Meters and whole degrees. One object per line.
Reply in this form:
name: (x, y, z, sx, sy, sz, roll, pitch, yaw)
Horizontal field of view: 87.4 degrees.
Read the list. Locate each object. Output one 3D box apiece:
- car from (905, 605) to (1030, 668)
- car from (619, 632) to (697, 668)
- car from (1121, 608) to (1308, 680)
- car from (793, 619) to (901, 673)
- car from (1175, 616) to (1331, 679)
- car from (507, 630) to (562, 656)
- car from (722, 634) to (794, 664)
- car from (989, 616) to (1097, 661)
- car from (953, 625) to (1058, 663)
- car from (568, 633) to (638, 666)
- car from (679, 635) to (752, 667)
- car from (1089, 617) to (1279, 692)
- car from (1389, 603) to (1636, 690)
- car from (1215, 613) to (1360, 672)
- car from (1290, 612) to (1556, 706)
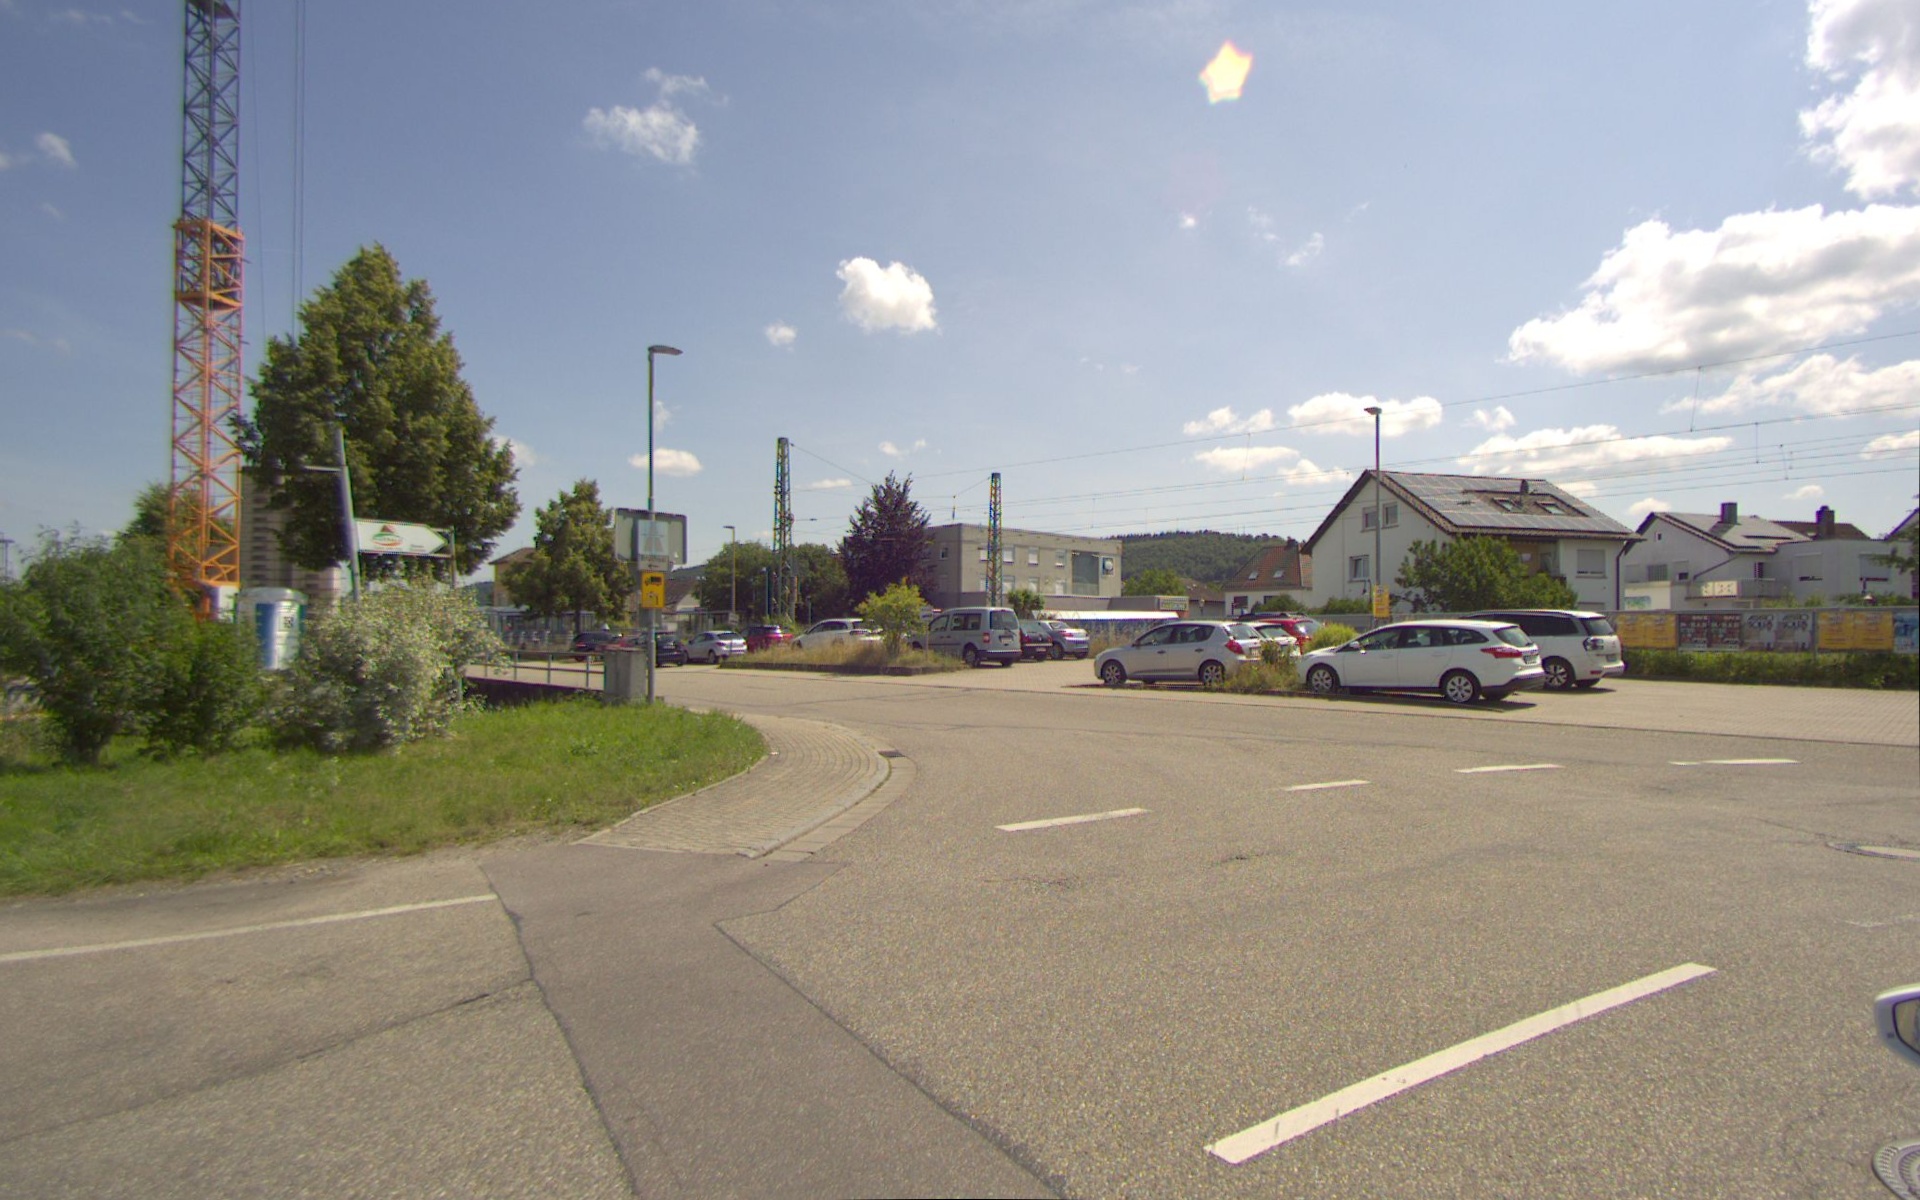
car: (0.184, 1.117, 32.447, 1.891, 1.840, 3.950, 0, 1, -42)
car: (-13.302, 2.153, 44.104, 1.814, 1.477, 3.952, 1, -2, -41)
car: (6.327, 1.136, 25.214, 4.116, 1.660, 1.944, -4, -4, 43)
car: (-4.297, 1.713, 37.917, 3.945, 1.916, 1.988, -1, -2, 44)
car: (7.896, 1.261, 27.234, 1.683, 1.579, 3.746, 2, -2, -43)
car: (-25.096, 2.491, 59.155, 1.760, 1.483, 3.950, 1, -2, -42)
car: (-9.345, 2.233, 46.363, 1.523, 1.331, 3.952, 1, -2, -41)
car: (2.977, 1.381, 36.631, 1.670, 1.439, 3.955, 2, 0, -39)
car: (1.549, 1.492, 34.918, 1.660, 1.238, 3.630, 1, -2, -40)
car: (-17.740, 2.417, 49.846, 1.878, 1.522, 3.949, 2, -2, -43)
car: (-10.992, 2.253, 45.038, 1.523, 1.331, 3.952, 1, -2, -41)
car: (5.139, 1.200, 23.295, 3.956, 1.582, 1.813, -1, -2, 42)
car: (12.171, 0.946, 22.371, 1.983, 1.713, 4.417, 0, 0, -39)
car: (9.512, 1.204, 29.340, 3.792, 1.610, 1.488, -2, -2, 45)
car: (8.728, 1.044, 19.201, 1.814, 1.496, 4.244, 2, 0, -42)
